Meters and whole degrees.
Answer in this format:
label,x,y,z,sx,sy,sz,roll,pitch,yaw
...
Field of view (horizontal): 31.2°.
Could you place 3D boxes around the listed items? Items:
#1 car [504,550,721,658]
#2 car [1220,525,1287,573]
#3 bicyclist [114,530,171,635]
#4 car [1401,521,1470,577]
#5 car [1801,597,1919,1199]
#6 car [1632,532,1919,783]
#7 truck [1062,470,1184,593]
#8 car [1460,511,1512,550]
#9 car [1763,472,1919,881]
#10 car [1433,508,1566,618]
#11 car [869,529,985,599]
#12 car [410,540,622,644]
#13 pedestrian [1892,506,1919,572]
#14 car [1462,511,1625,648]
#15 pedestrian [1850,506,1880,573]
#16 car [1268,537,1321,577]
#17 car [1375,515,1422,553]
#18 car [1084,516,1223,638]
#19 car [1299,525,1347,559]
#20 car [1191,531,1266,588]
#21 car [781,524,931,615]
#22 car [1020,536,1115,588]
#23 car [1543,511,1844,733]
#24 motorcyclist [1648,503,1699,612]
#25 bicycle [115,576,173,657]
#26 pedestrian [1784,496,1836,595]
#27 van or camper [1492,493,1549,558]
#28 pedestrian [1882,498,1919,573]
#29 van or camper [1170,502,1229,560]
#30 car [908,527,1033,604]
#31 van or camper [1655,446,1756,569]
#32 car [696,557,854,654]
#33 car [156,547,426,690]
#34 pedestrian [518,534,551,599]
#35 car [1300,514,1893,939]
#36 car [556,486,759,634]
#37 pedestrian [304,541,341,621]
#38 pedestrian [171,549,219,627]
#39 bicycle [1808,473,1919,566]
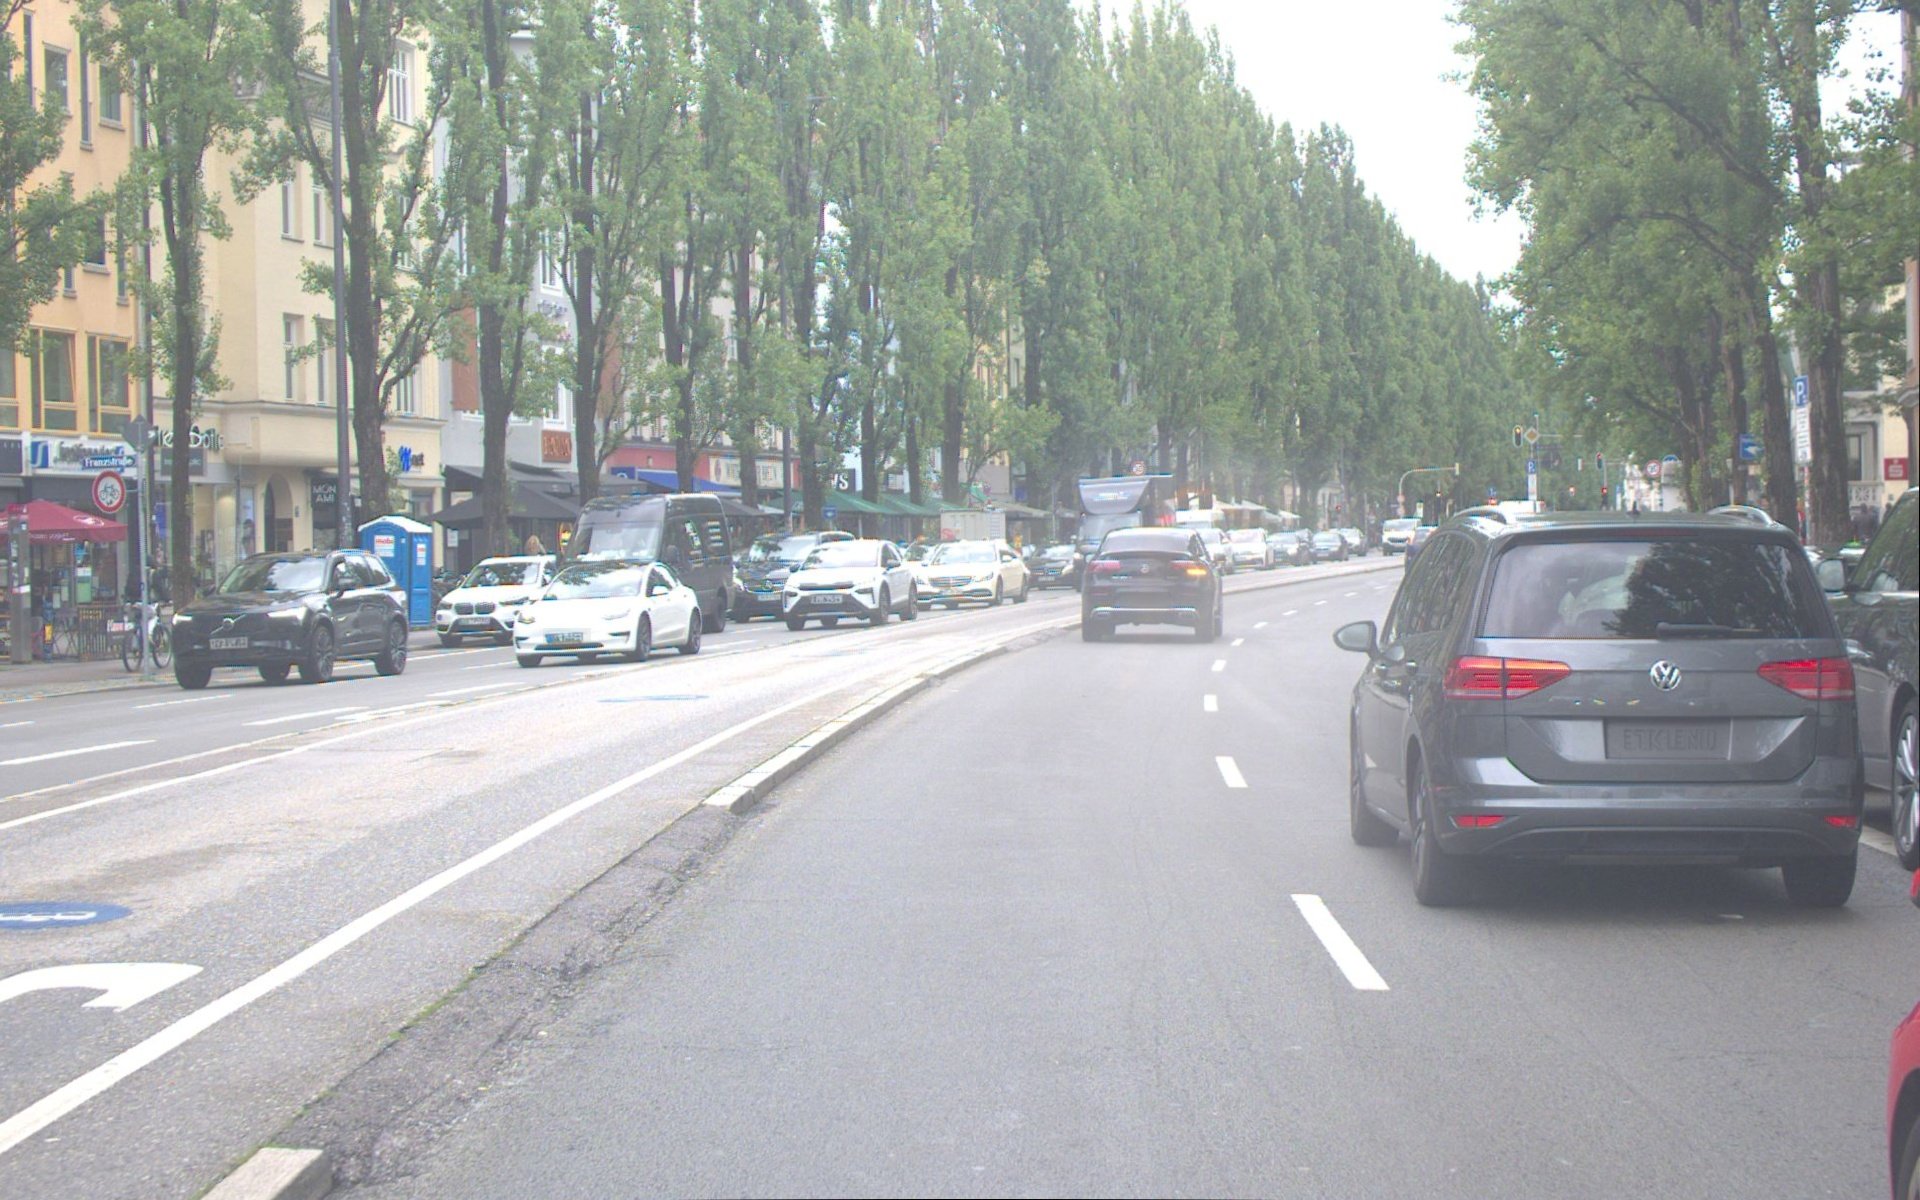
label,x,y,z,sx,sy,sz,roll,pitch,yaw
car,-4.996,0.025,50.068,1.800,1.389,4.688,-2,1,12
car,10.787,-1.892,126.049,1.940,1.636,4.462,-2,1,11
bicyclist,-12.546,-0.271,52.749,0.502,1.587,0.834,-1,1,12
car,13.912,-1.488,100.436,1.760,1.614,3.745,0,1,12
car,2.417,0.744,4.676,1.665,1.441,3.596,1,1,0
car,5.628,0.293,22.259,1.771,1.428,4.571,1,1,2
truck,4.721,-1.975,98.360,2.292,3.311,7.154,-2,1,11
car,24.357,-3.232,159.231,1.995,1.711,3.998,-2,1,14
car,5.277,0.306,16.628,1.929,1.799,4.779,0,1,4
car,7.964,-0.581,51.028,1.811,1.495,4.804,-2,1,8
car,-0.810,-0.949,88.247,1.994,1.645,4.634,-2,1,11
car,-8.282,-0.189,64.798,2.171,1.757,6.062,-1,1,11
pedestrian,23.306,-1.497,84.317,0.821,1.607,0.778,-1,1,15
car,7.577,-0.285,44.979,1.925,1.694,4.649,0,1,8
pedestrian,22.275,-1.488,84.637,0.673,1.607,0.640,-1,1,15
car,13.276,-1.705,136.428,1.668,1.590,3.998,0,1,12
car,23.955,-3.595,187.717,1.993,2.007,4.000,0,1,-1
car,2.841,-0.371,49.831,1.881,1.636,4.582,-1,1,4
car,15.916,-2.543,150.591,1.712,1.409,3.721,-1,1,11
car,8.875,-1.355,113.406,1.861,1.705,4.534,-2,1,12
car,-1.916,-0.609,64.952,1.910,1.597,4.353,-2,1,10
car,3.267,-1.159,103.474,1.940,1.429,4.536,-2,1,13
car,5.947,0.122,28.321,1.727,1.680,4.408,0,1,3
motorcyclist,9.403,-0.563,45.294,0.564,1.401,0.766,-2,1,8
bicycle,-12.518,0.250,52.762,0.368,1.197,1.153,-1,1,13
pedestrian,16.326,-1.057,66.069,0.818,1.862,0.938,-2,1,8
van or camper,22.307,-2.926,136.734,2.035,2.467,3.998,-1,0,12
pedestrian,19.708,-1.345,71.701,0.604,1.545,0.715,-3,1,-16
van or camper,10.554,-3.044,151.247,1.994,2.450,4.249,-1,1,12
car,0.287,-0.814,78.405,1.994,1.583,5.194,-3,1,9
van or camper,19.782,-2.461,91.207,2.461,3.101,4.713,-2,1,13
car,-3.959,0.091,74.691,1.994,1.857,5.709,-3,1,11
car,-8.796,0.201,45.702,2.019,1.710,4.981,-1,1,7
pedestrian,-11.254,-0.879,90.853,0.638,1.694,0.647,-1,1,12
car,2.637,0.440,15.198,1.761,1.608,4.184,0,1,-1
car,-5.589,-0.790,64.520,2.171,2.596,6.062,-1,1,11
pedestrian,-14.046,-0.413,75.760,0.539,1.741,0.755,0,1,12
pedestrian,-15.709,-0.247,70.631,0.634,1.556,0.815,-1,1,13
bicycle,12.222,-1.086,46.252,1.478,1.203,0.536,-2,1,4
